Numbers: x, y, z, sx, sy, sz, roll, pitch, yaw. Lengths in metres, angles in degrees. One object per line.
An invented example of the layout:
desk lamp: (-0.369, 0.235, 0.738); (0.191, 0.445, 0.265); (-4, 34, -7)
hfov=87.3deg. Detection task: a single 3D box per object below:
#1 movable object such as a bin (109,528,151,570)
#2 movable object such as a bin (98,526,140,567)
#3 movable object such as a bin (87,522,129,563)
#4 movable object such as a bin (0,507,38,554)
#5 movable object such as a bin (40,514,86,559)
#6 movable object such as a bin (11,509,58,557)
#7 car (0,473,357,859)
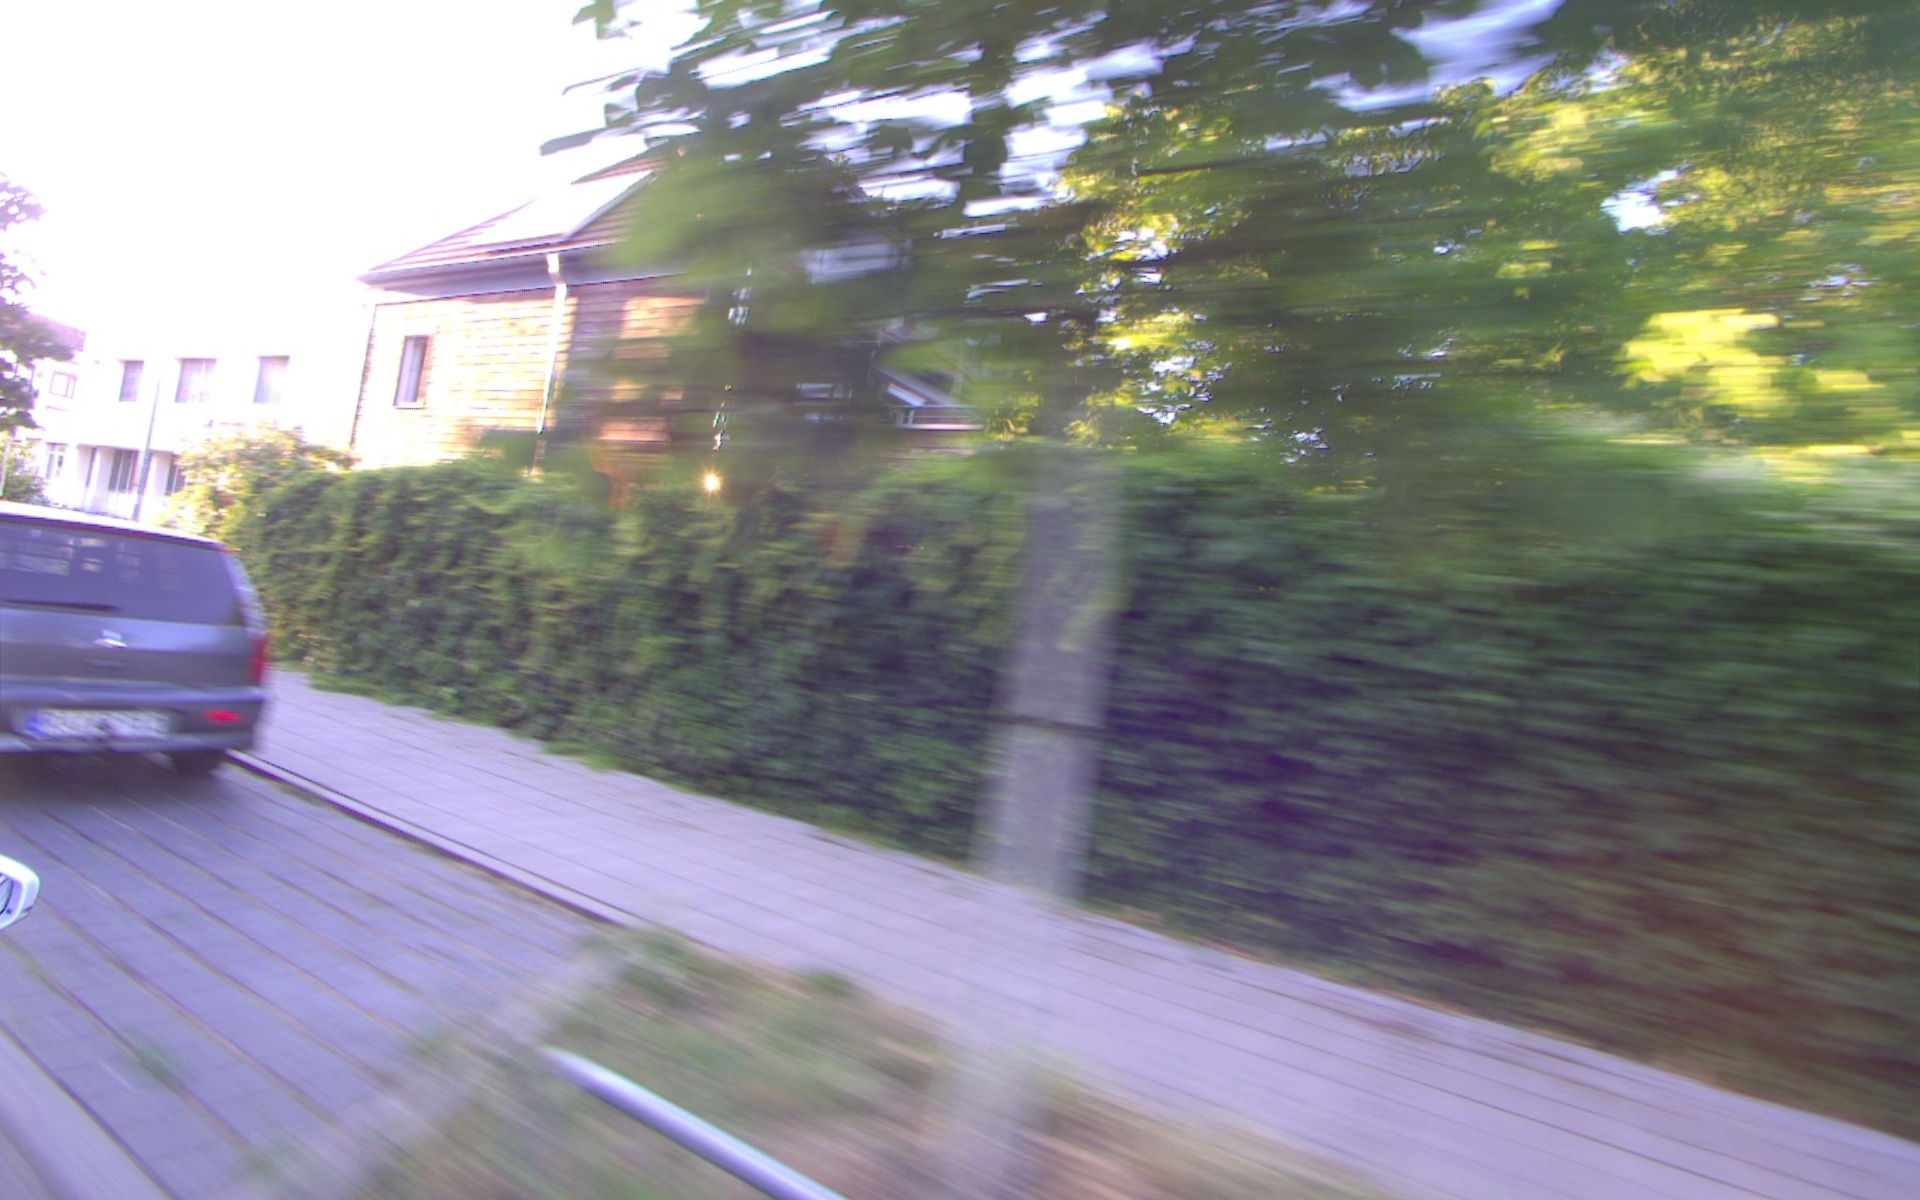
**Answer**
movable object such as a bin: (-21.963, -1.345, 26.626); (0.677, 0.969, 0.579); (9, -2, 33)
movable object such as a bin: (-22.627, -1.443, 27.062); (0.677, 0.969, 0.579); (9, -2, 33)
movable object such as a bin: (-23.300, -1.571, 27.513); (0.677, 0.969, 0.579); (9, -2, 33)
movable object such as a bin: (-22.953, -1.697, 24.417); (0.677, 1.021, 0.579); (7, -2, 33)
movable object such as a bin: (-22.260, -1.565, 24.973); (0.677, 0.969, 0.579); (9, -2, 33)
movable object such as a bin: (-22.272, -1.614, 24.208); (0.677, 1.022, 0.579); (9, -1, 33)
car: (-5.563, 0.117, 5.843); (4.526, 1.597, 1.727); (7, -3, 36)
